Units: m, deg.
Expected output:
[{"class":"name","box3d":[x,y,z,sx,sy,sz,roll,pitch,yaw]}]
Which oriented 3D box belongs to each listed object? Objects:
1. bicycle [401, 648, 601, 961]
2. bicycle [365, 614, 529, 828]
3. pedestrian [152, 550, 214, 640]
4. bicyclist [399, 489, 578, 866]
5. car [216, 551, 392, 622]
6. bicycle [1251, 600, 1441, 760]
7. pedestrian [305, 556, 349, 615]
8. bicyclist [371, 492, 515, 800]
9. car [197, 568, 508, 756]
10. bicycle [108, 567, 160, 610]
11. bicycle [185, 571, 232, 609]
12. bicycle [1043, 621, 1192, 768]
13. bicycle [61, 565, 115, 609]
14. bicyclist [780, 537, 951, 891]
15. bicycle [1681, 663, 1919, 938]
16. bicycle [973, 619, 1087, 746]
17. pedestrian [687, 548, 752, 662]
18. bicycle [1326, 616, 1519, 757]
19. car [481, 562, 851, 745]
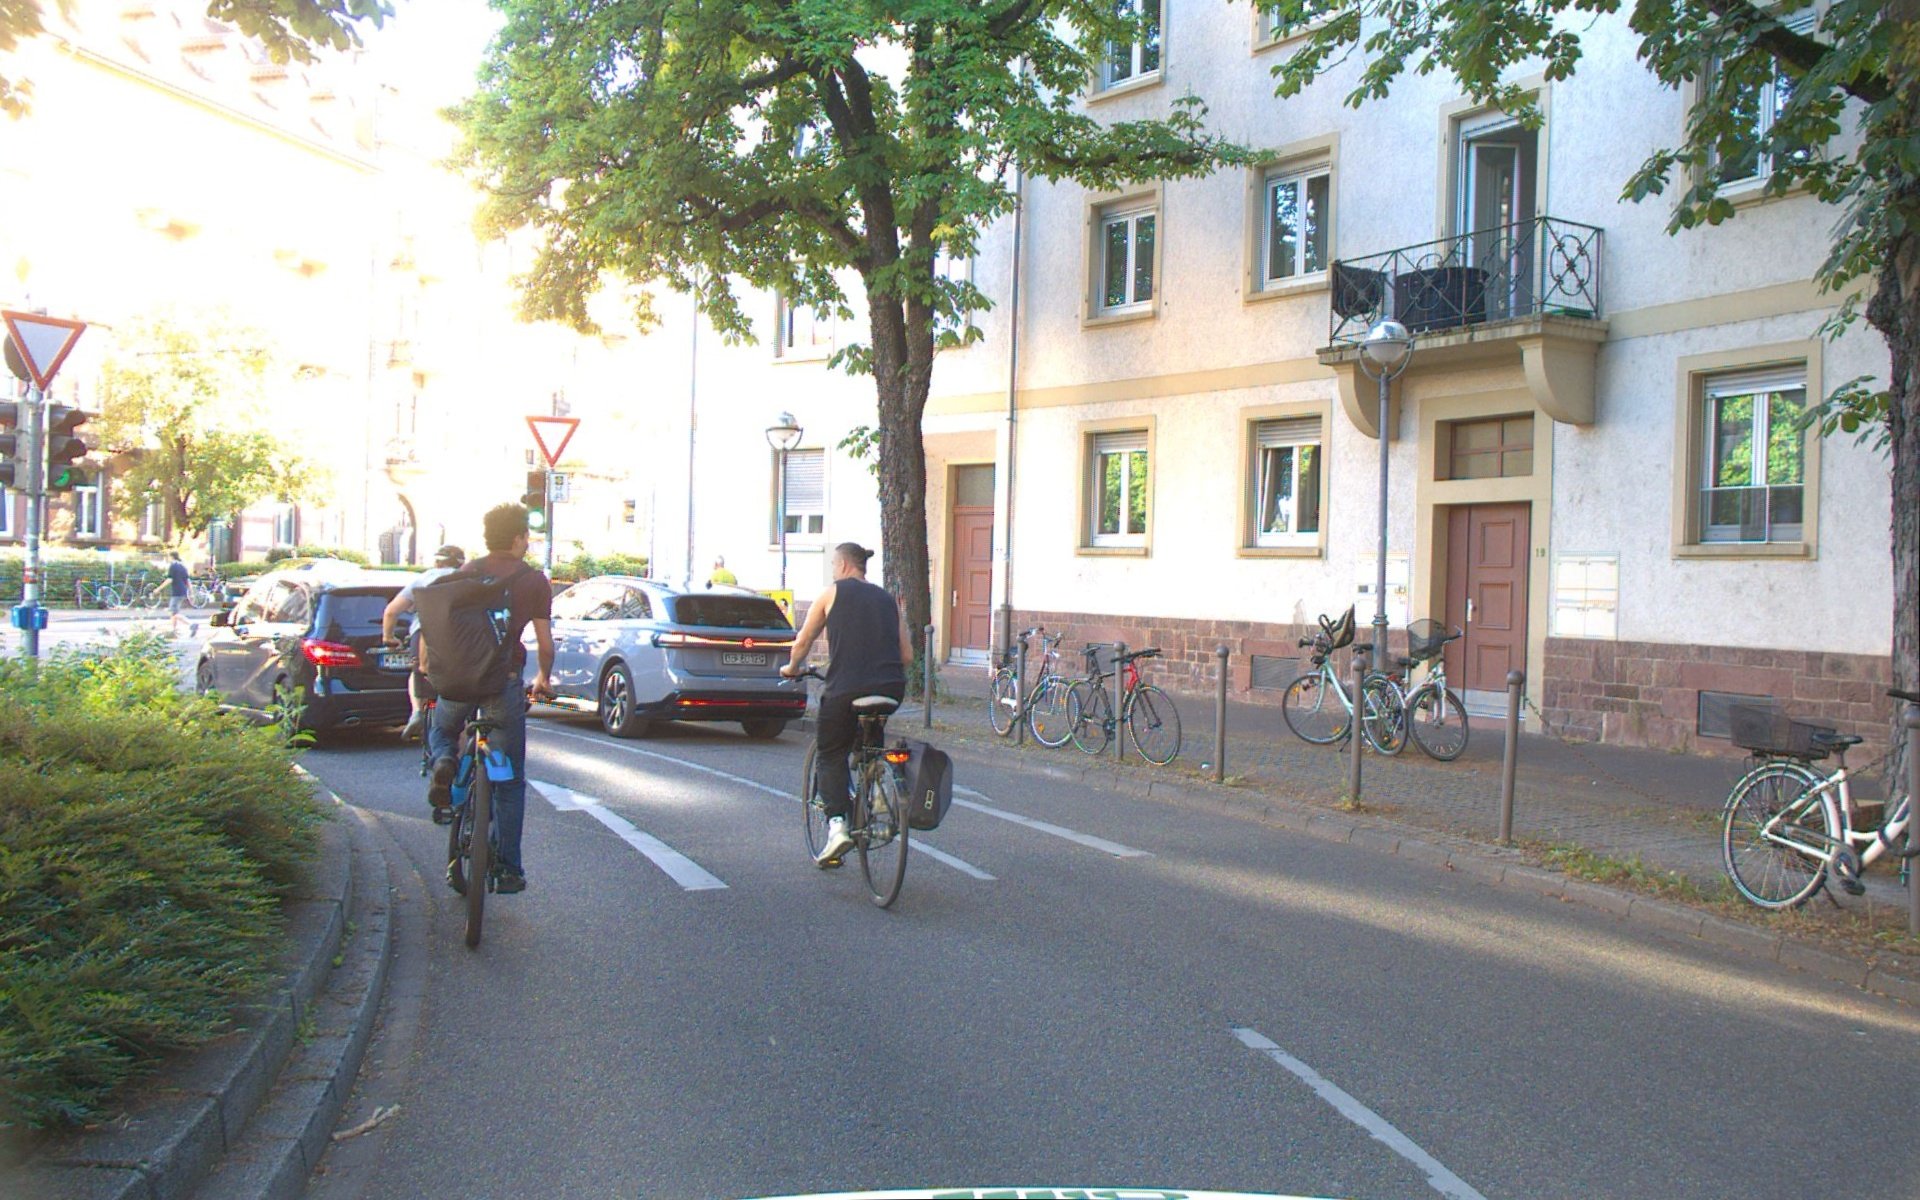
[{"class":"bicycle","box3d":[-2.128,0.834,7.493,0.706,1.126,1.955,2,0,-20]},{"class":"bicycle","box3d":[-3.447,0.737,10.981,0.799,1.205,2.211,2,0,-23]},{"class":"pedestrian","box3d":[-14.994,-0.108,31.940,0.887,1.663,0.723,4,1,-15]},{"class":"bicyclist","box3d":[-2.179,0.329,7.584,0.696,1.601,0.952,2,0,-19]},{"class":"car","box3d":[-16.916,-0.335,42.904,1.901,1.678,4.413,2,0,17]},{"class":"bicycle","box3d":[3.432,0.670,14.910,0.707,1.299,1.955,0,1,-21]},{"class":"pedestrian","box3d":[-18.800,-0.438,49.123,0.698,1.693,0.895,5,2,33]},{"class":"bicyclist","box3d":[-3.465,0.295,11.044,0.783,1.946,0.938,2,0,-23]},{"class":"car","box3d":[-5.935,0.477,15.917,1.777,1.569,3.808,-1,1,-37]},{"class":"bicycle","box3d":[-22.335,-0.298,44.731,0.433,1.126,1.233,3,1,22]},{"class":"bicycle","box3d":[-21.433,-0.280,47.178,0.433,1.056,1.233,3,1,21]},{"class":"bicycle","box3d":[1.348,0.787,14.492,0.519,1.126,1.728,-1,2,-24]},{"class":"bicycle","box3d":[-22.891,-0.340,43.419,0.433,1.126,1.233,3,1,22]},{"class":"bicyclist","box3d":[-0.501,0.536,8.432,0.675,1.685,0.985,0,1,-15]},{"class":"bicycle","box3d":[4.275,0.905,7.665,0.505,1.114,1.962,0,1,-20]},{"class":"bicycle","box3d":[0.651,0.766,15.985,0.474,1.082,1.625,-1,2,-22]},{"class":"pedestrian","box3d":[-3.786,0.064,26.038,0.639,1.757,0.876,-2,2,-39]},{"class":"bicycle","box3d":[4.129,0.746,14.937,0.657,1.126,1.956,2,0,-19]},{"class":"car","box3d":[-3.214,0.498,17.380,1.956,1.613,4.415,4,-1,-38]}]
